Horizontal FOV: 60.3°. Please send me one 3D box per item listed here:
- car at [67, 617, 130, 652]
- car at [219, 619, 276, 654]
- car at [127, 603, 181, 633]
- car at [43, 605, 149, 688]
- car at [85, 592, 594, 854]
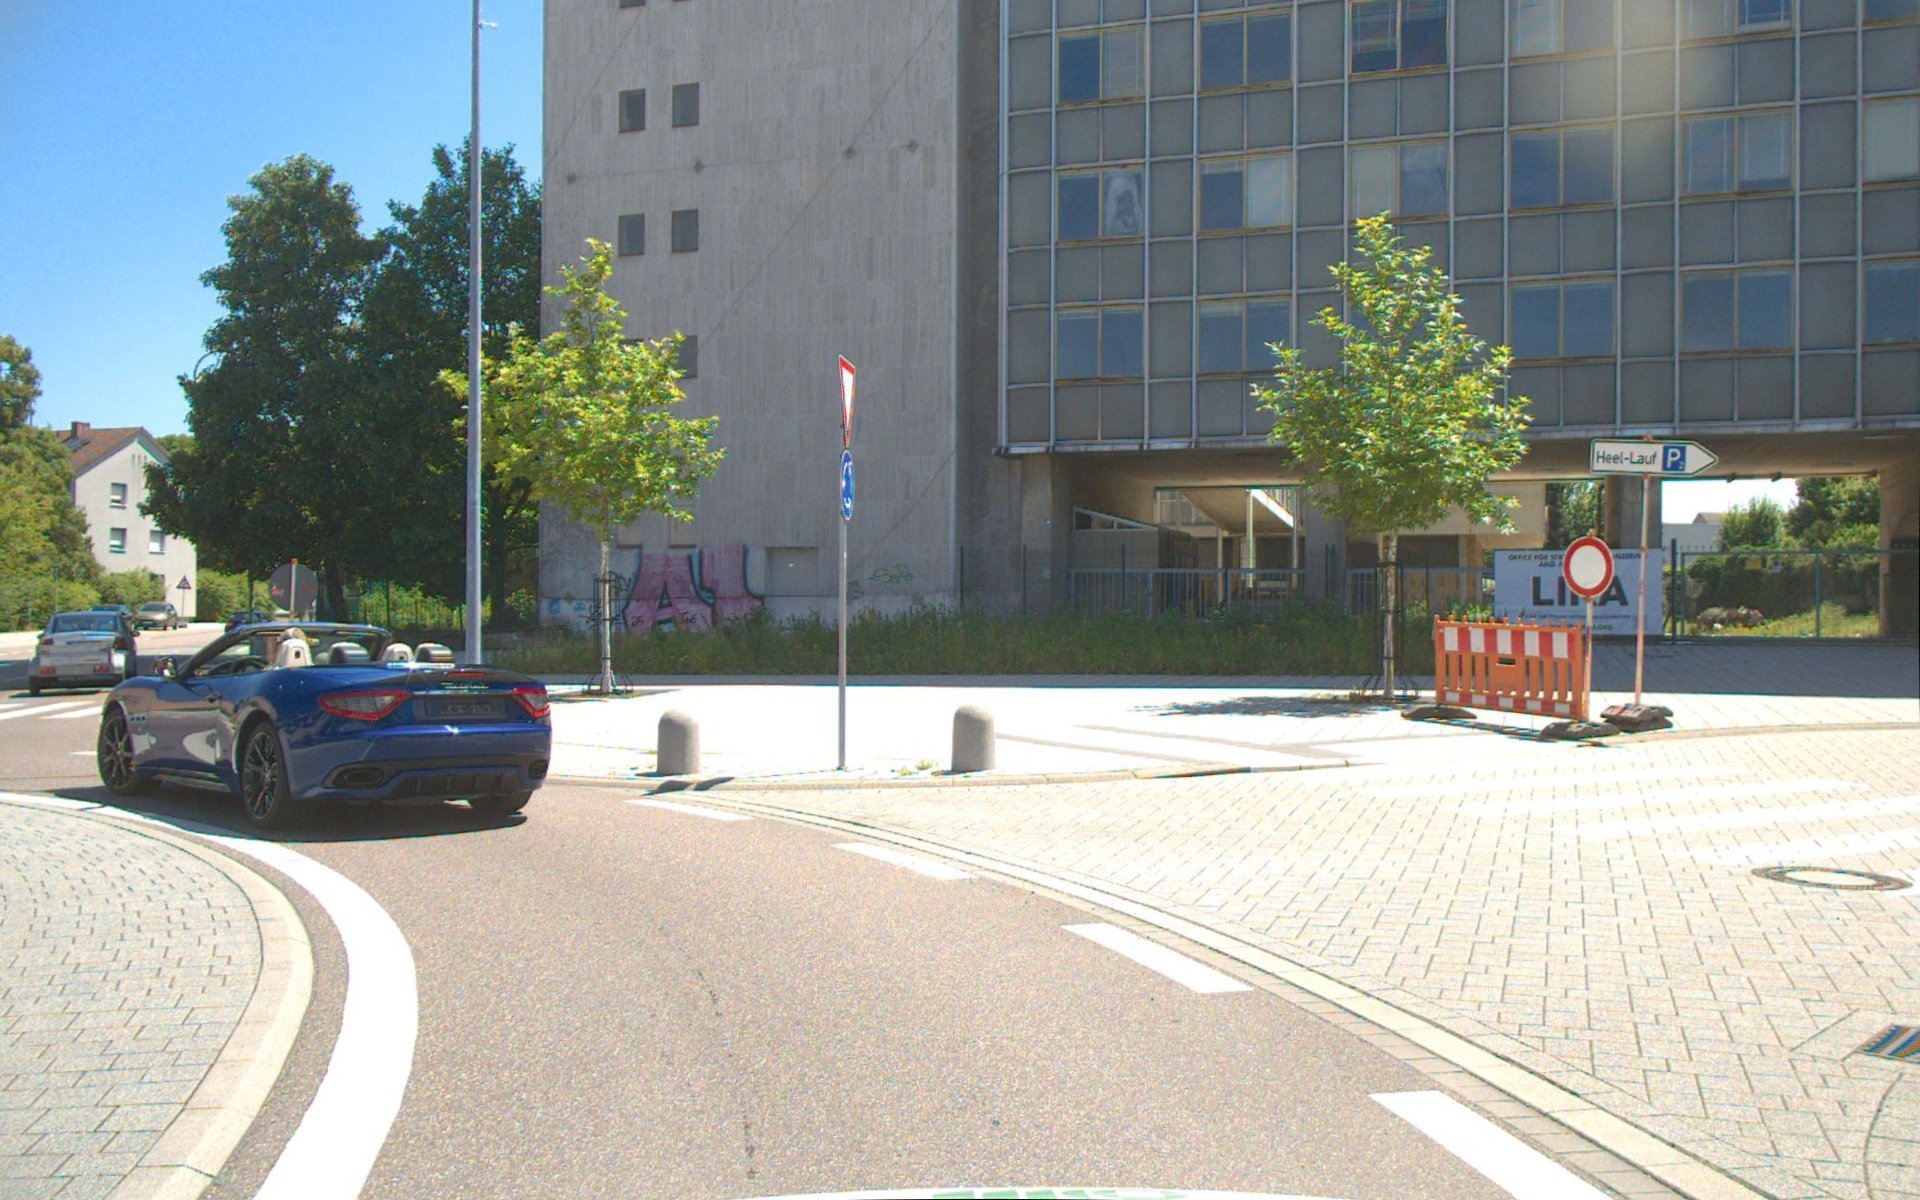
[{"bbox_3d":[-40.682,1.606,78.147,1.708,1.461,3.699,-1,1,-13],"label":"car"},{"bbox_3d":[-32.493,1.648,75.488,1.709,1.461,3.698,-1,1,-13],"label":"car"},{"bbox_3d":[-43.211,0.946,88.732,1.708,1.461,3.699,-1,1,-13],"label":"car"},{"bbox_3d":[-16.904,0.867,32.406,1.718,1.461,3.677,-2,1,-27],"label":"car"},{"bbox_3d":[-4.672,0.812,12.081,1.863,1.557,4.432,1,-3,-45],"label":"car"}]
